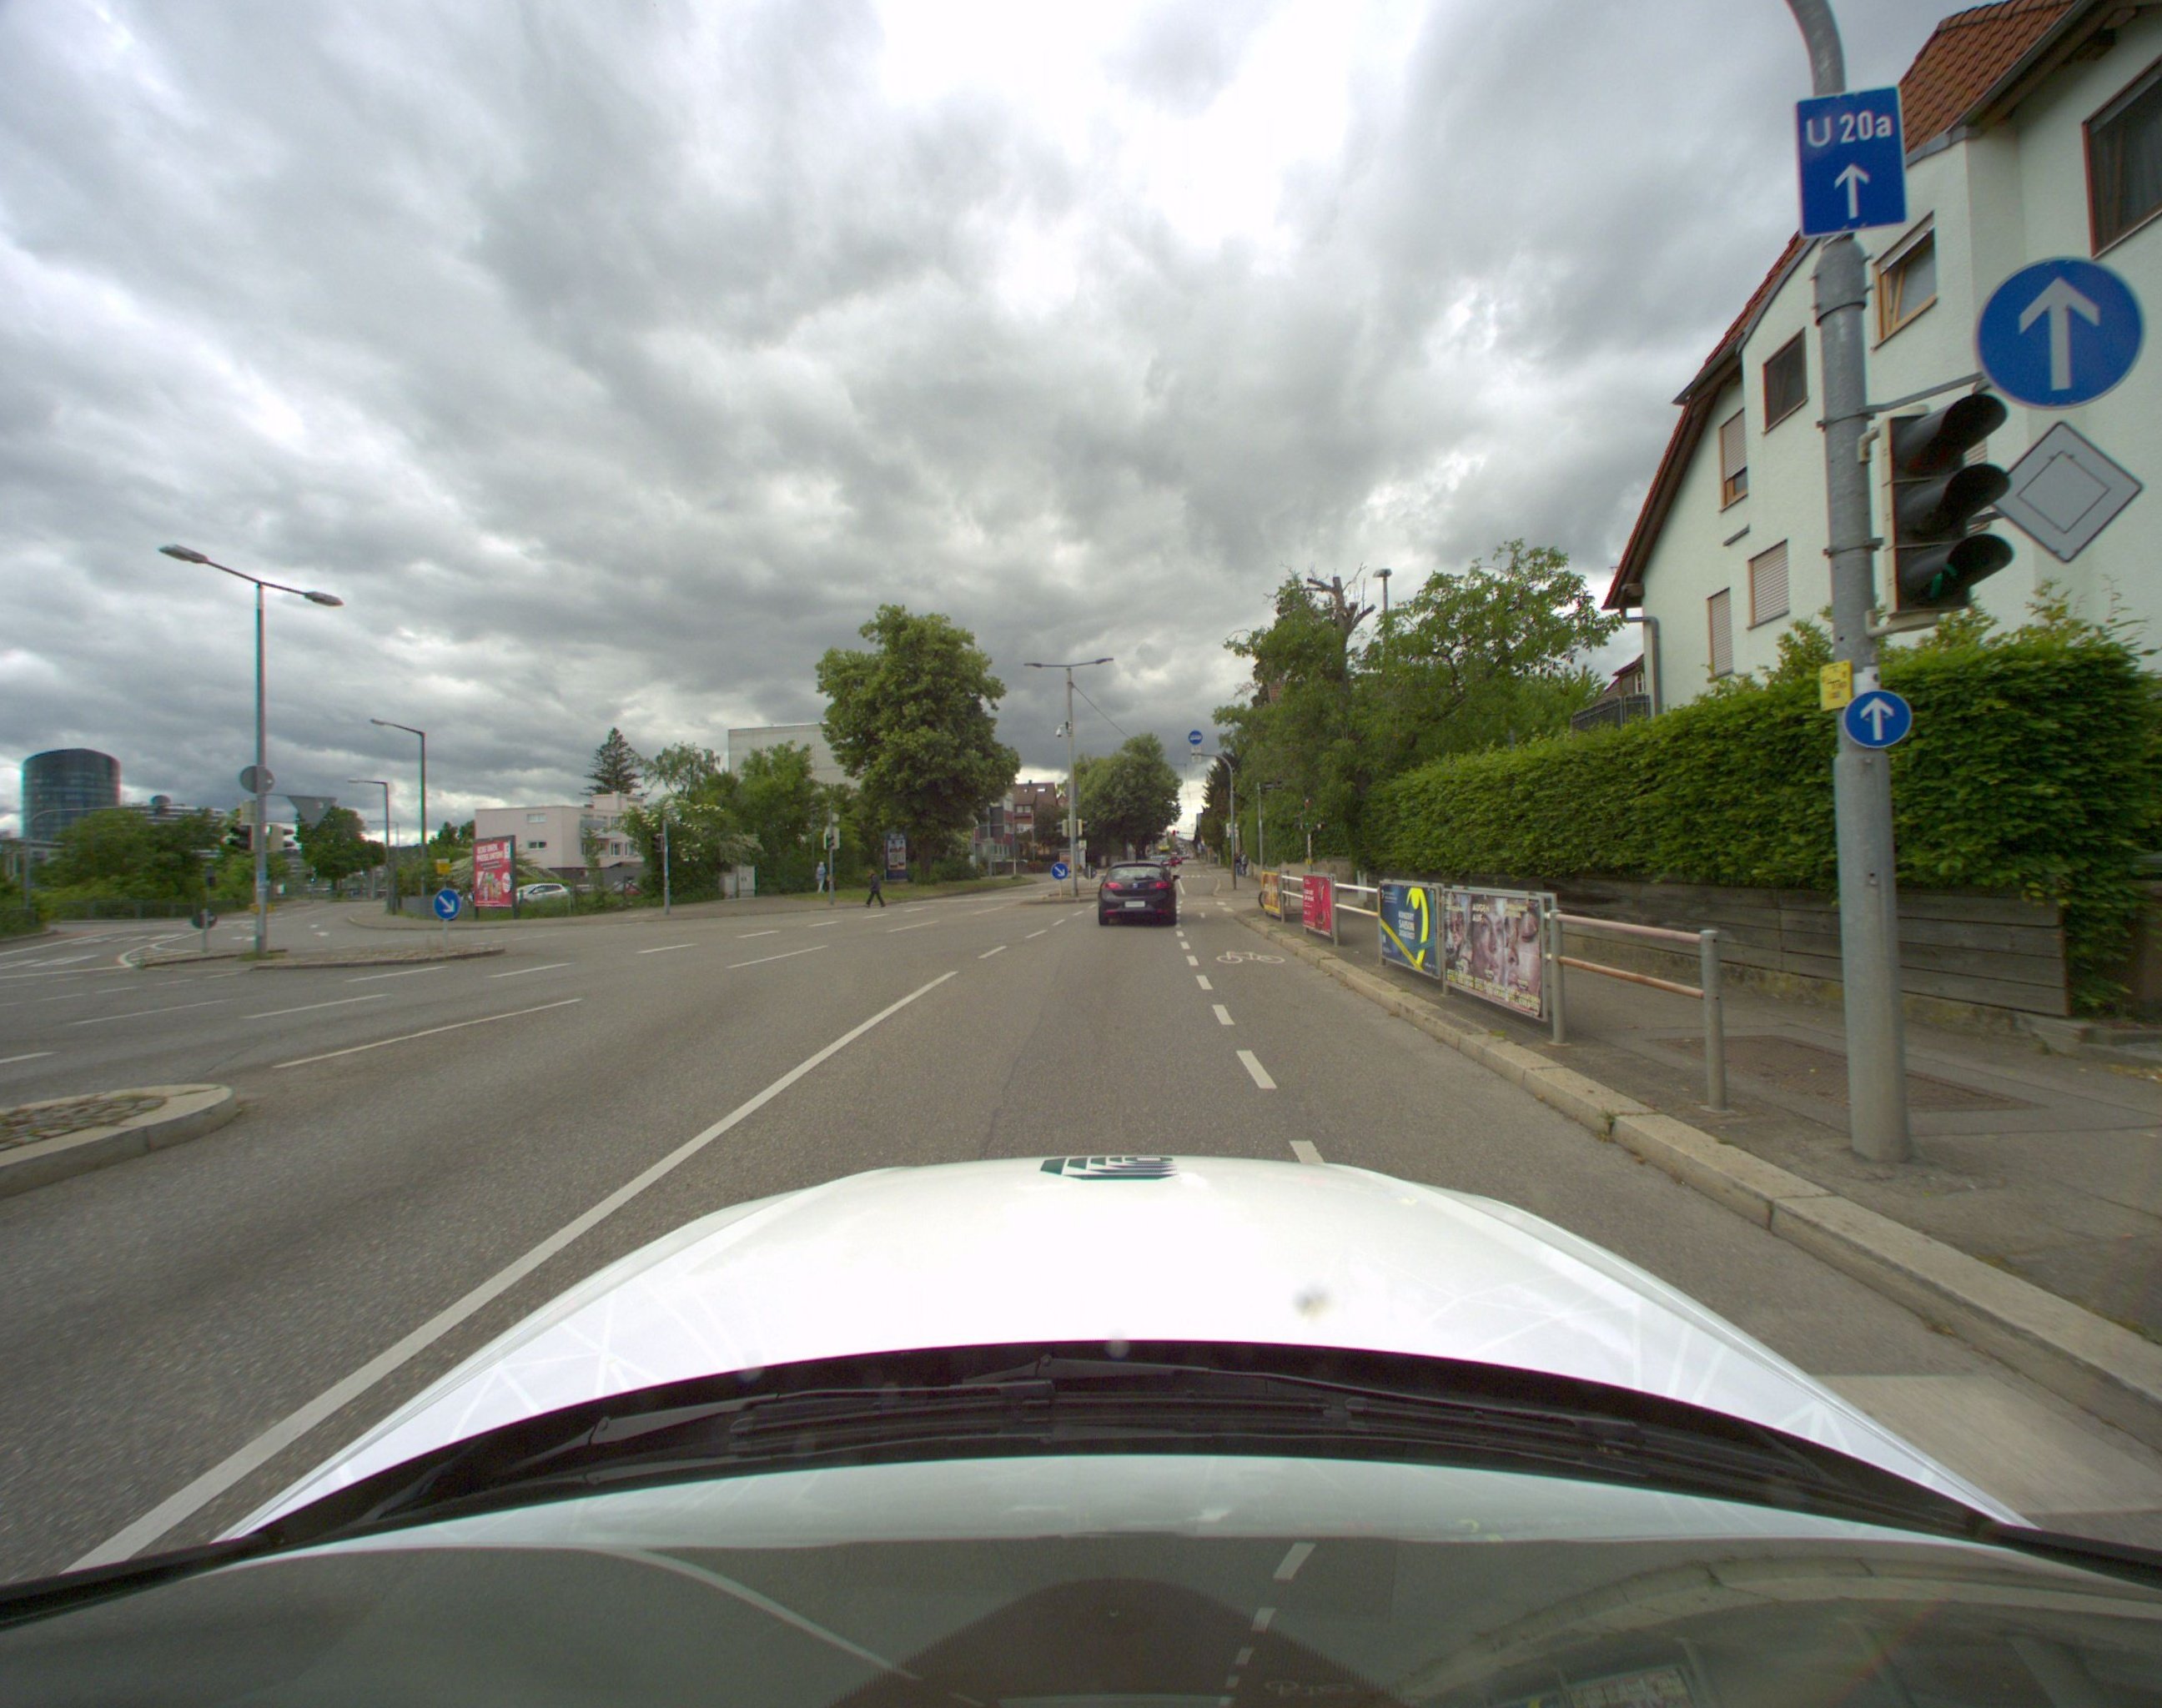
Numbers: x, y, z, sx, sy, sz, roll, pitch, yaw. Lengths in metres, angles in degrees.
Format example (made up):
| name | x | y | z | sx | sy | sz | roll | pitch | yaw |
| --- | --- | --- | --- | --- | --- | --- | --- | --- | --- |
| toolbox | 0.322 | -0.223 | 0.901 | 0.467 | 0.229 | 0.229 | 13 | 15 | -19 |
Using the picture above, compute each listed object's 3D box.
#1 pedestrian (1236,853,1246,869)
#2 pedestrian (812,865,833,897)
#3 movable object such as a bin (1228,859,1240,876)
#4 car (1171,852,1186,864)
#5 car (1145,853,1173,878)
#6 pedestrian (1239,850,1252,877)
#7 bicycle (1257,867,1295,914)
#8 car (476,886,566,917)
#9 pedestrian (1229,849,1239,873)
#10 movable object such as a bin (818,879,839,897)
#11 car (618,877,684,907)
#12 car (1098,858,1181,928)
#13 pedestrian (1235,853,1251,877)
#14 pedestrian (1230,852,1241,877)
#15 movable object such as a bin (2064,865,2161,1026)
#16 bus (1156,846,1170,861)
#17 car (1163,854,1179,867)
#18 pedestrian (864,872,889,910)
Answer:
| name | x | y | z | sx | sy | sz | roll | pitch | yaw |
| --- | --- | --- | --- | --- | --- | --- | --- | --- | --- |
| pedestrian | 10.153 | 0.464 | 51.635 | 0.452 | 0.964 | 0.383 | -6 | 0 | 1 |
| pedestrian | -12.458 | 1.299 | 39.265 | 0.652 | 1.522 | 0.925 | -2 | -1 | 4 |
| movable object such as a bin | 9.853 | 0.866 | 52.421 | 0.436 | 1.058 | 0.572 | -6 | 0 | 33 |
| car | 15.621 | 0.642 | 130.646 | 1.980 | 1.684 | 4.014 | -2 | 0 | 13 |
| car | 5.953 | 0.820 | 61.454 | 1.808 | 1.699 | 4.263 | -3 | 0 | 8 |
| pedestrian | 9.762 | 0.540 | 48.417 | 0.542 | 1.555 | 0.471 | -6 | 0 | -2 |
| bicycle | 4.636 | 0.854 | 19.427 | 0.625 | 1.028 | 1.506 | -2 | 0 | 5 |
| car | -33.109 | 2.767 | 48.259 | 1.780 | 1.554 | 4.021 | -2 | 0 | 22 |
| pedestrian | 11.182 | 0.538 | 59.584 | 0.583 | 1.711 | 0.530 | -4 | -1 | 6 |
| movable object such as a bin | -12.387 | 1.660 | 40.022 | 0.652 | 0.798 | 0.898 | -2 | 0 | 4 |
| car | -31.302 | 2.737 | 59.419 | 1.978 | 2.014 | 4.017 | 0 | 0 | 16 |
| car | 1.371 | 0.839 | 19.121 | 1.752 | 1.449 | 3.718 | 0 | 0 | 4 |
| pedestrian | 9.906 | 0.659 | 49.864 | 0.516 | 1.427 | 0.613 | -6 | 0 | -45 |
| pedestrian | 9.771 | 0.682 | 51.503 | 0.545 | 1.517 | 0.363 | -5 | 0 | 16 |
| movable object such as a bin | 6.909 | 0.569 | 5.274 | 0.472 | 0.969 | 0.474 | -2 | -1 | 1 |
| bus | 17.996 | -0.063 | 178.285 | 2.854 | 3.136 | 6.409 | -2 | 0 | 6 |
| car | 11.459 | 0.778 | 103.767 | 1.932 | 1.481 | 4.259 | -3 | 0 | 5 |
| pedestrian | -7.885 | 1.410 | 31.435 | 0.772 | 1.407 | 0.599 | -3 | -1 | -6 |
